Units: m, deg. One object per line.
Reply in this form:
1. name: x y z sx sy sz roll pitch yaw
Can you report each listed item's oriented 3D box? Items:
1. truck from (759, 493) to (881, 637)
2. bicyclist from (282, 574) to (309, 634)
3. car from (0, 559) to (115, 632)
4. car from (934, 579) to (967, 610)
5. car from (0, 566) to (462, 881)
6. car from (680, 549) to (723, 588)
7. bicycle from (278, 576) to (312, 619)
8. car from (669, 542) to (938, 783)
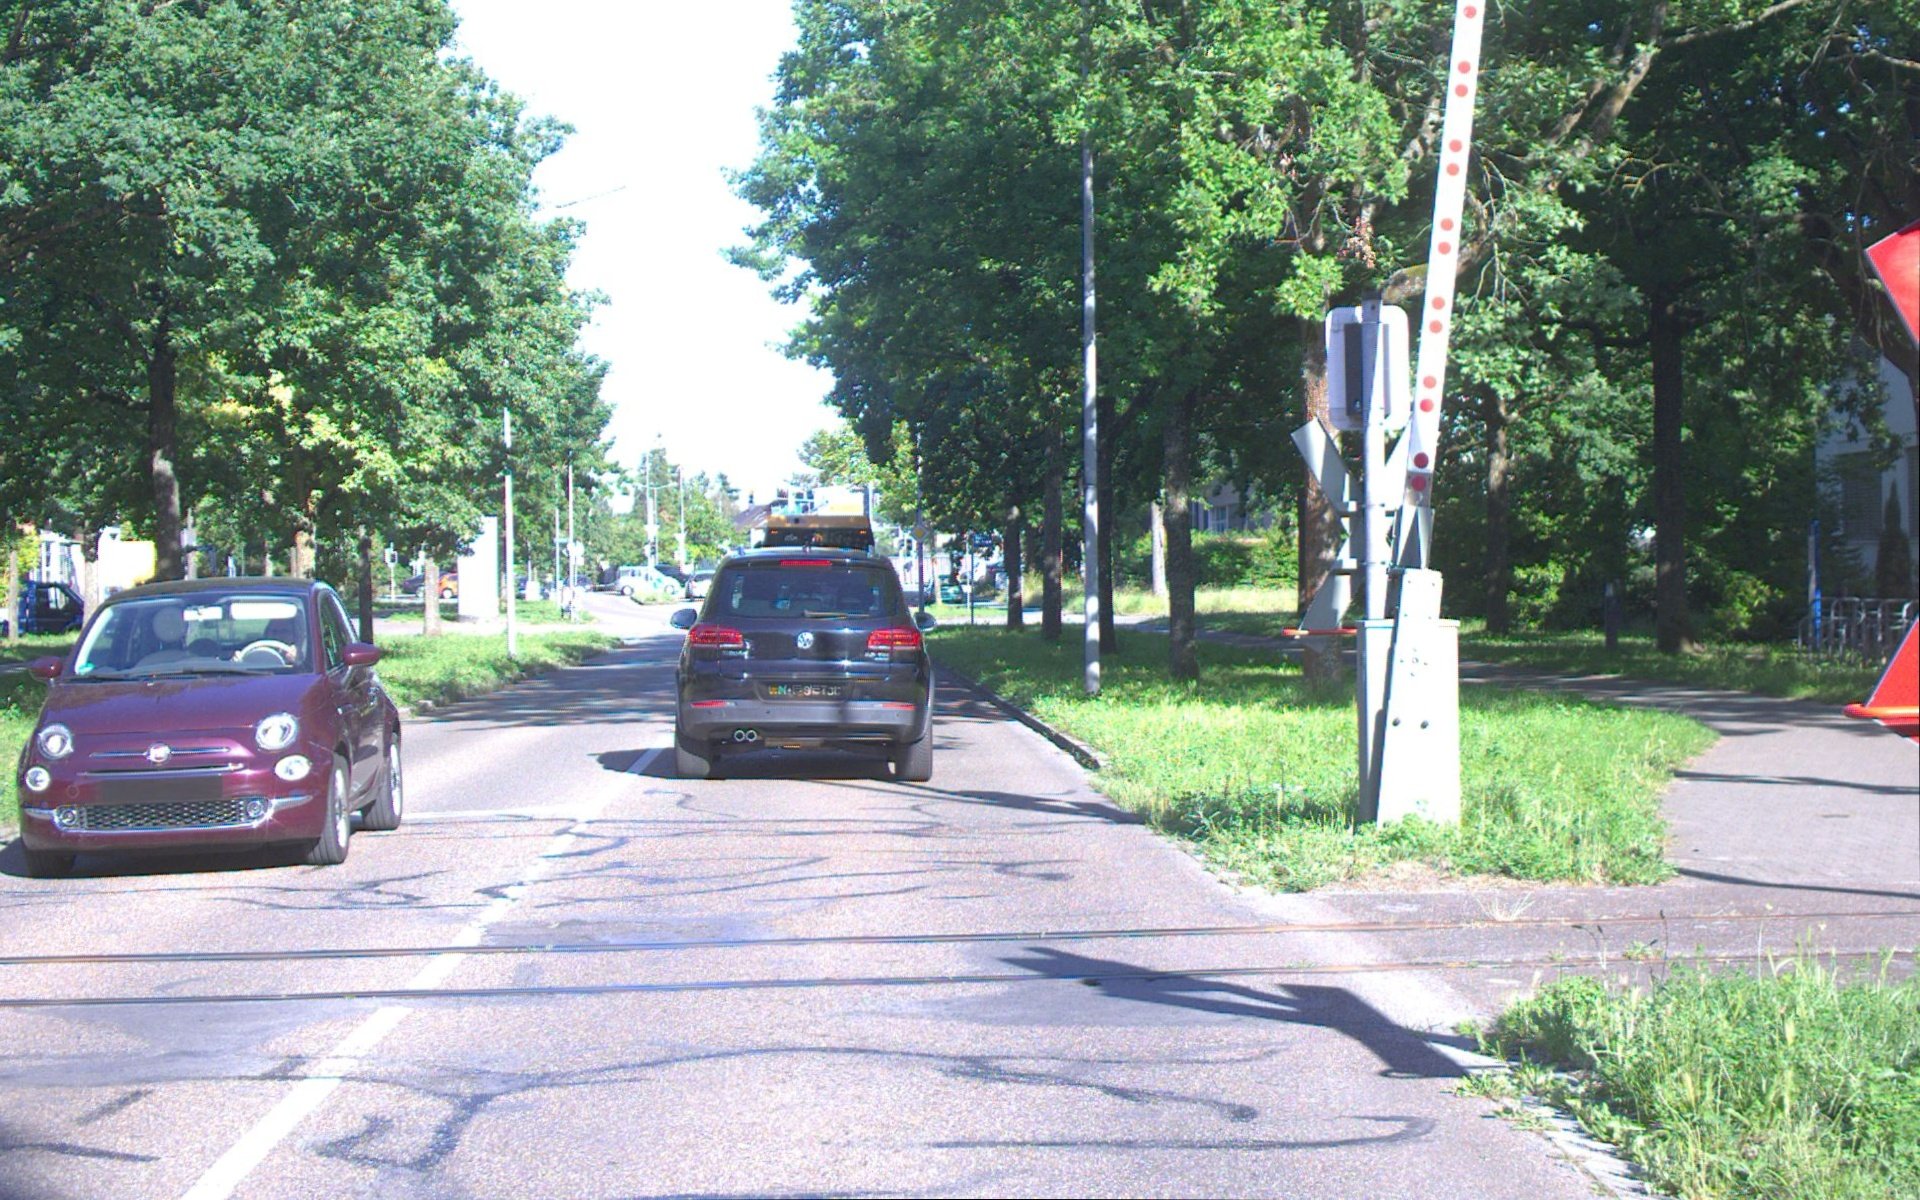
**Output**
1. truck: -3.271 -0.847 82.102 2.512 3.232 8.152 -1 1 0
2. bicyclist: -20.685 0.115 106.979 0.686 1.825 0.934 1 1 -3
3. car: -26.889 -0.142 97.053 5.788 2.007 2.001 1 1 -12
4. car: -0.435 -0.271 160.140 1.452 1.401 2.856 1 1 -1
5. car: -3.921 0.592 18.969 1.565 1.499 4.000 -2 1 2
6. car: -13.474 -1.645 178.745 1.993 2.007 4.001 1 1 -7
7. bicycle: -20.707 -0.080 107.062 0.717 1.317 1.992 1 1 -3
8. car: -1.087 0.405 25.612 1.782 1.628 4.000 1 1 0
